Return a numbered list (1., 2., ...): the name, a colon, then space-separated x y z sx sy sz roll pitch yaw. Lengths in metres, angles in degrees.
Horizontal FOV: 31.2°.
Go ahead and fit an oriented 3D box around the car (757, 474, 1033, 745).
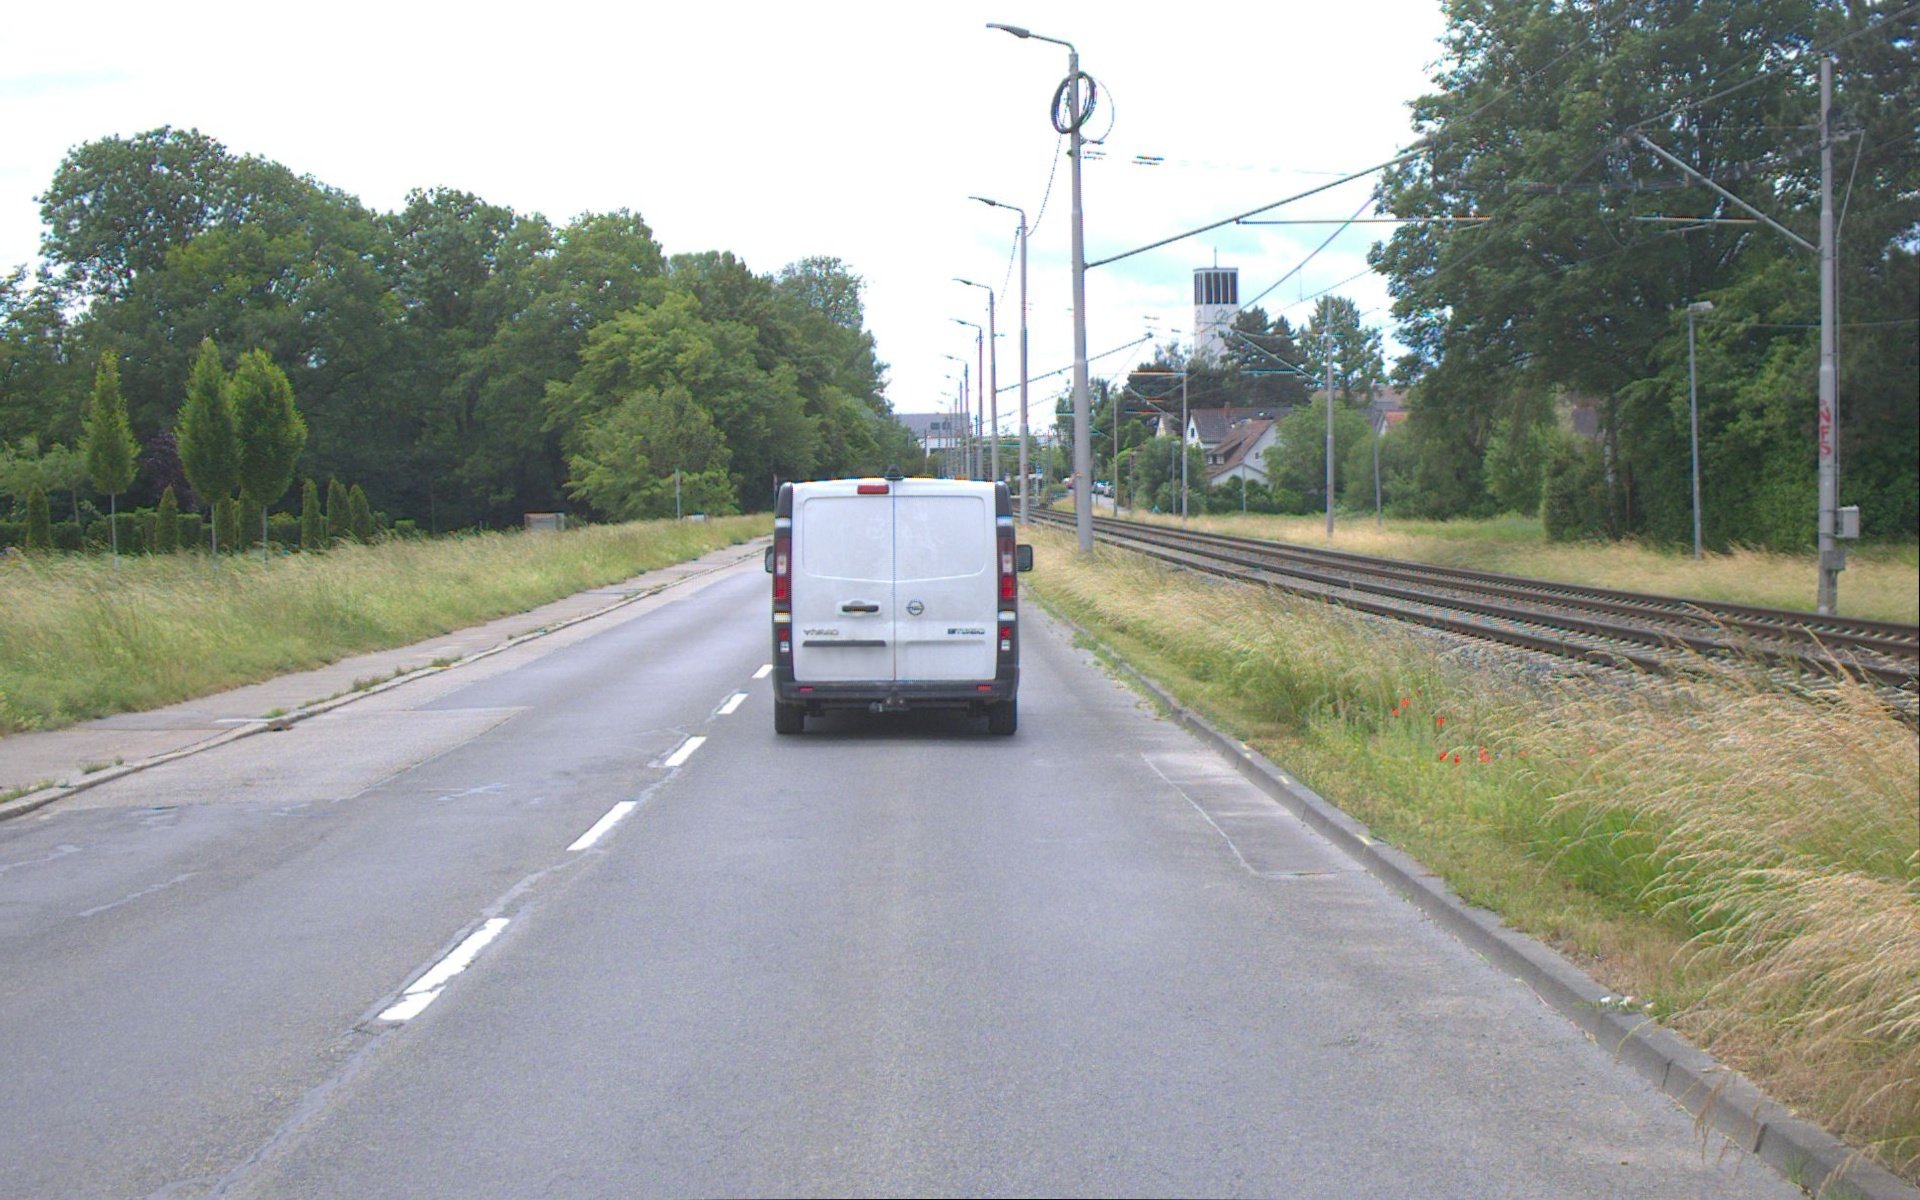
1. car: -0.528 0.027 27.103 1.993 1.950 4.000 -1 1 -2
